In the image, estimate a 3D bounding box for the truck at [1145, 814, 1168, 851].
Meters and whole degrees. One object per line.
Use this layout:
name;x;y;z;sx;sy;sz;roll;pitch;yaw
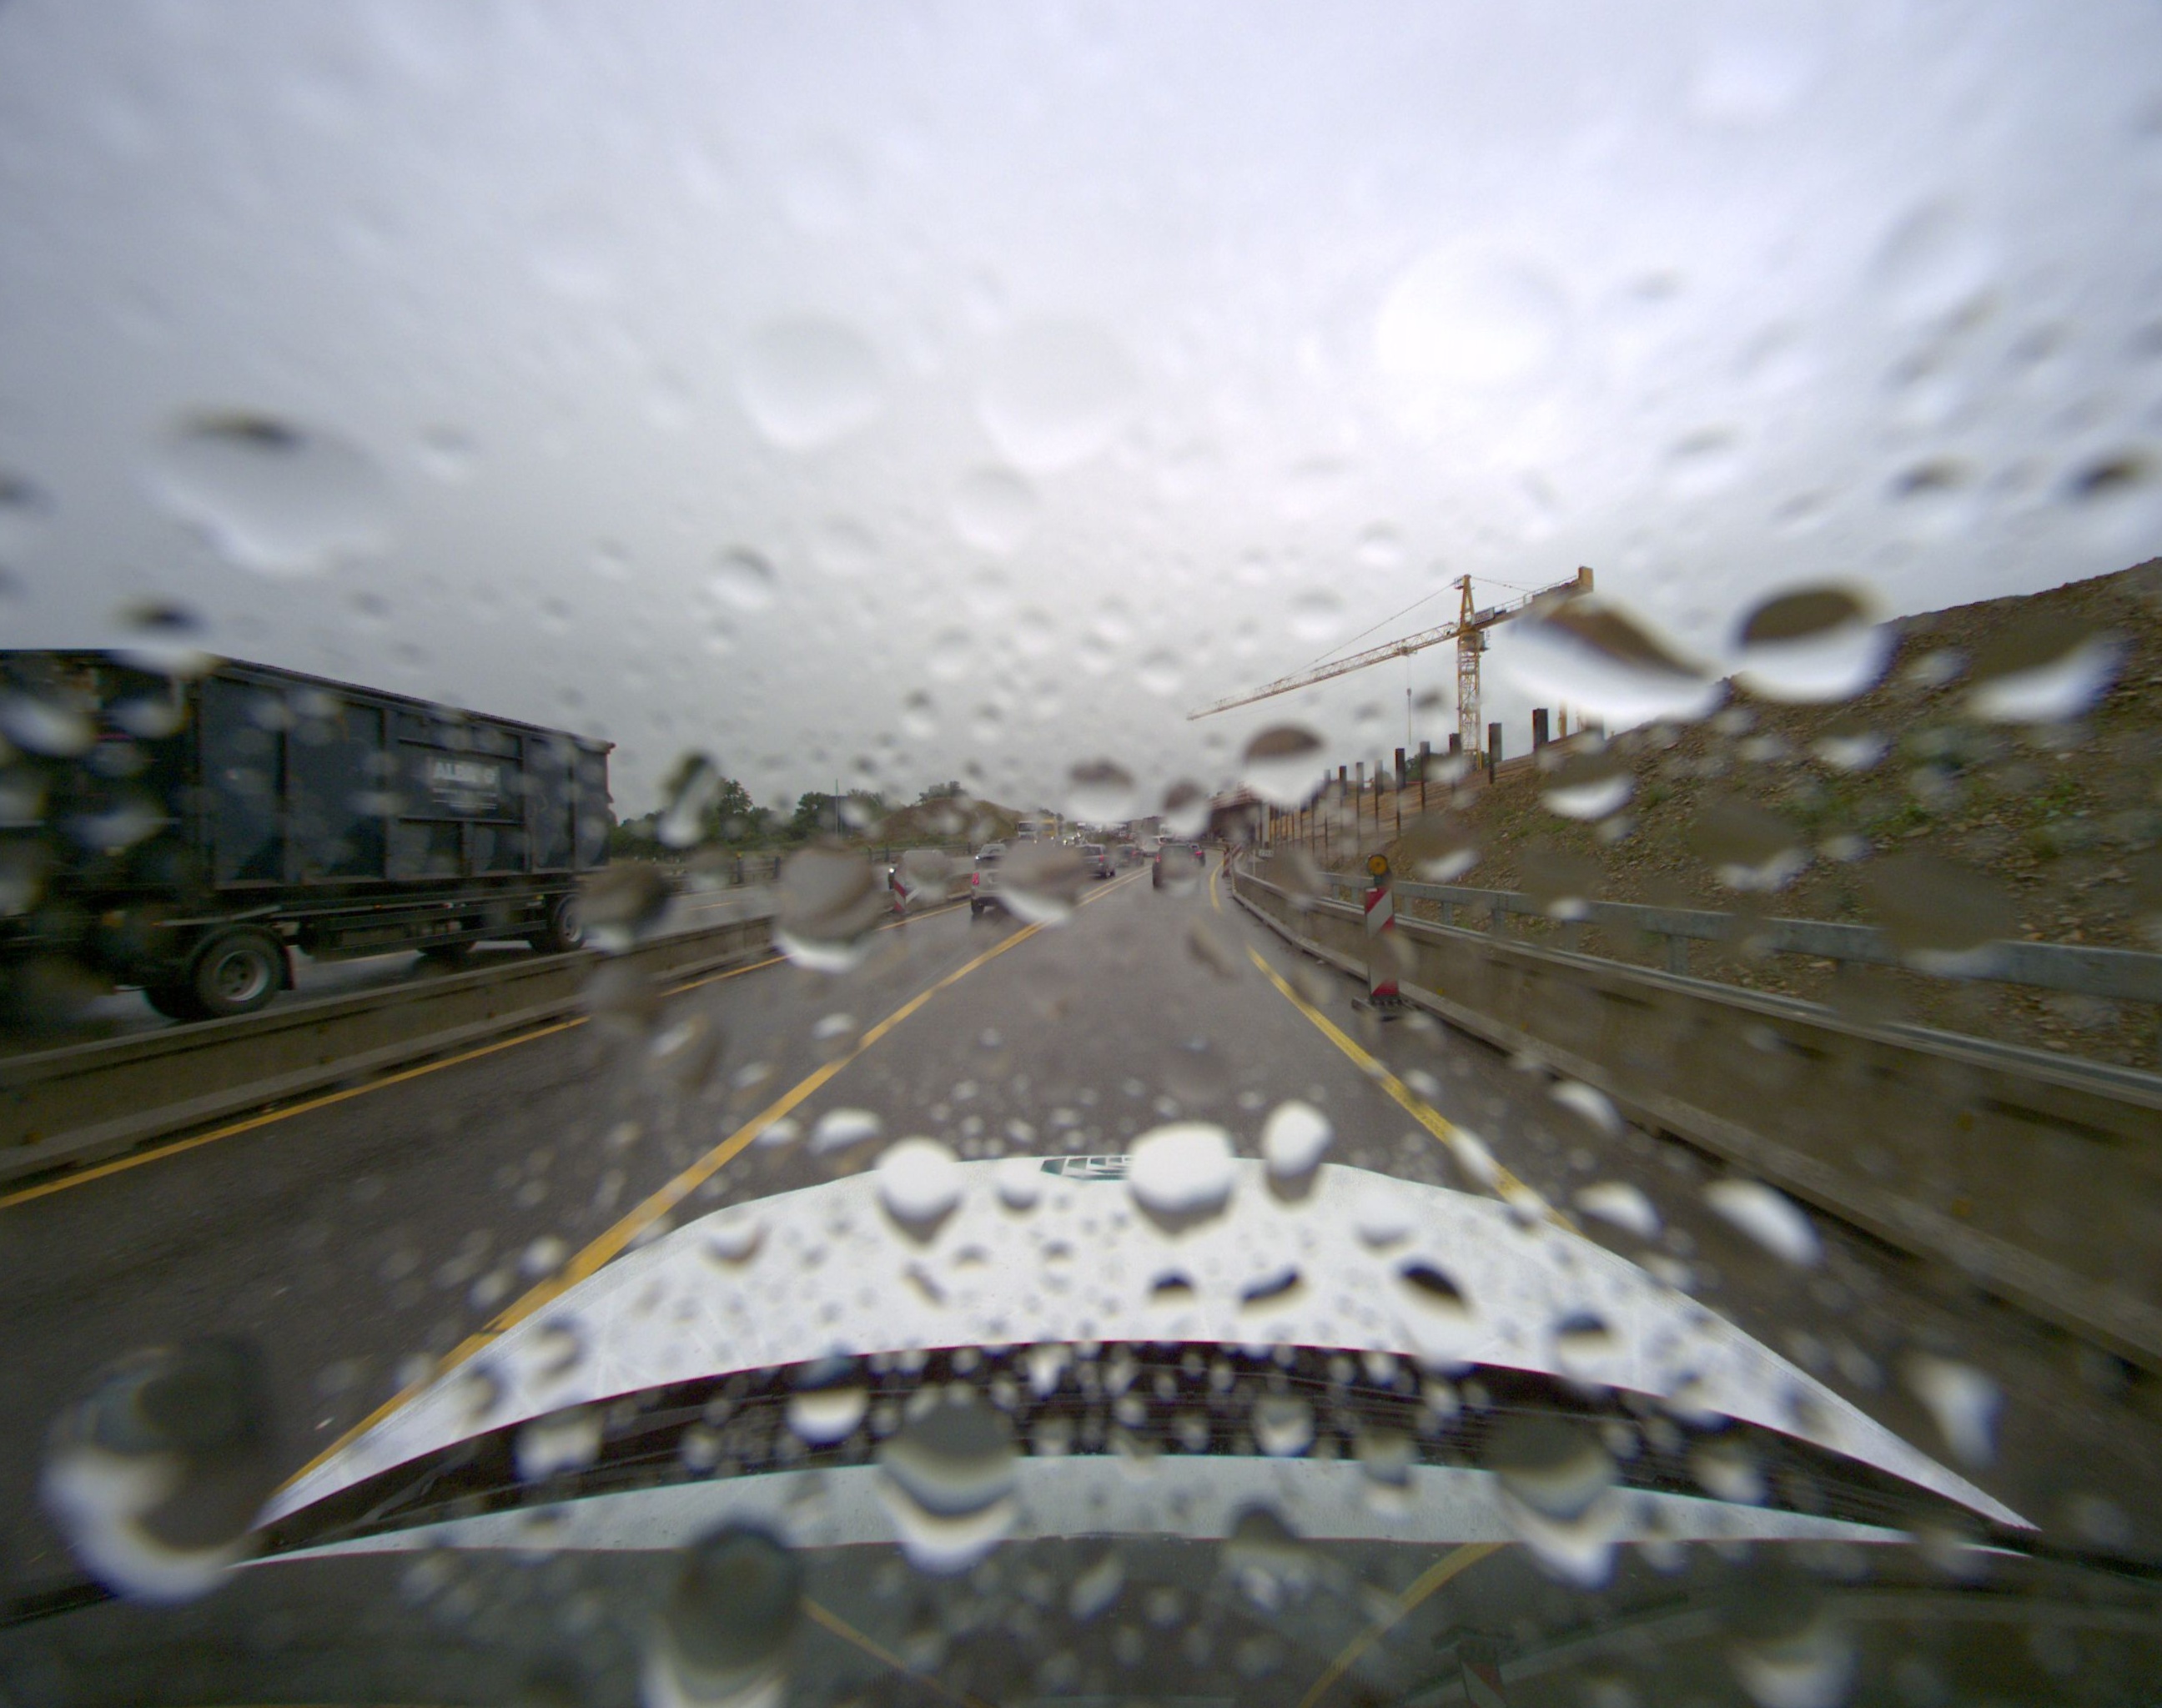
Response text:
truck;12.613;-3.505;135.078;3.083;5.427;9.464;-1;-2;9

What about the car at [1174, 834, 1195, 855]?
car;11.475;-1.014;90.623;1.985;2.163;4.143;-1;-2;3

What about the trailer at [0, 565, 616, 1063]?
trailer;-9.978;-0.310;10.145;2.737;3.970;9.673;-1;0;0

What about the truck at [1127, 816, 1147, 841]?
truck;13.411;-6.012;196.436;3.791;5.043;12.919;-1;-2;1

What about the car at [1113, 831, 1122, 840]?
car;9.312;-4.665;207.613;1.987;2.014;4.000;-2;-1;1

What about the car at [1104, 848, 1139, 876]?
car;2.552;0.548;52.417;1.987;1.601;4.138;-1;-2;0

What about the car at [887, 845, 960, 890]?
car;-6.255;0.497;32.973;1.731;1.684;5.553;-1;0;1

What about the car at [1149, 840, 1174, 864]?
car;8.145;-0.156;81.961;1.980;2.163;4.153;-2;-2;11

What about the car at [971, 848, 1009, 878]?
car;-5.819;0.612;52.428;1.779;1.810;4.499;-1;-2;1

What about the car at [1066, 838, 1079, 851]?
car;-1.537;-1.681;148.031;2.230;2.359;4.879;-1;-1;2

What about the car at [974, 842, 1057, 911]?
car;-1.633;0.605;21.627;1.810;1.600;4.307;-1;-2;0

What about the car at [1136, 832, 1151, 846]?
car;9.213;-2.155;120.102;1.986;1.761;3.815;-1;-2;2

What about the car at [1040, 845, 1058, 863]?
car;-3.397;0.019;87.541;1.616;1.810;3.638;-1;-2;2

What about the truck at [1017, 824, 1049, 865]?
truck;-5.928;-1.152;102.240;3.071;4.920;8.568;-1;-1;2

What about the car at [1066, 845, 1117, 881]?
car;0.571;0.498;39.473;1.983;1.601;4.147;-1;-2;6

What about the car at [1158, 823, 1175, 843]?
car;11.985;-2.878;115.020;1.986;2.484;4.982;-1;-2;2

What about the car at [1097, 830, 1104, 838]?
car;5.261;-5.379;219.208;1.987;2.014;3.999;-1;-2;1

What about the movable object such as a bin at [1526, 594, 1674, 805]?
movable object such as a bin;32.246;-9.083;51.425;4.683;10.844;10.344;-2;-3;15

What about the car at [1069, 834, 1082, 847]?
car;-1.073;-2.697;163.490;2.208;2.370;4.666;-1;-1;2

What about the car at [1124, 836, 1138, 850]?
car;8.342;-1.833;135.516;1.983;2.163;4.147;-1;-2;6

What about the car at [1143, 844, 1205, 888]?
car;3.613;0.520;32.406;2.073;1.601;4.141;-1;-2;2

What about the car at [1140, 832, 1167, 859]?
car;6.093;-0.701;68.932;1.987;2.014;3.892;-1;-2;0

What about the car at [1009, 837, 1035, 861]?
car;-4.942;-0.362;68.862;1.779;1.810;4.499;-1;-2;1

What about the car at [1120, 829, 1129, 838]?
car;10.023;-4.752;187.924;1.842;1.894;4.022;-1;-2;2

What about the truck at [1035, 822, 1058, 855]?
truck;-5.831;-2.509;138.546;3.129;5.418;8.527;-1;-1;2

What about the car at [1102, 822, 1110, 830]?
car;7.191;-8.094;233.338;1.987;2.014;3.999;-1;-2;1
